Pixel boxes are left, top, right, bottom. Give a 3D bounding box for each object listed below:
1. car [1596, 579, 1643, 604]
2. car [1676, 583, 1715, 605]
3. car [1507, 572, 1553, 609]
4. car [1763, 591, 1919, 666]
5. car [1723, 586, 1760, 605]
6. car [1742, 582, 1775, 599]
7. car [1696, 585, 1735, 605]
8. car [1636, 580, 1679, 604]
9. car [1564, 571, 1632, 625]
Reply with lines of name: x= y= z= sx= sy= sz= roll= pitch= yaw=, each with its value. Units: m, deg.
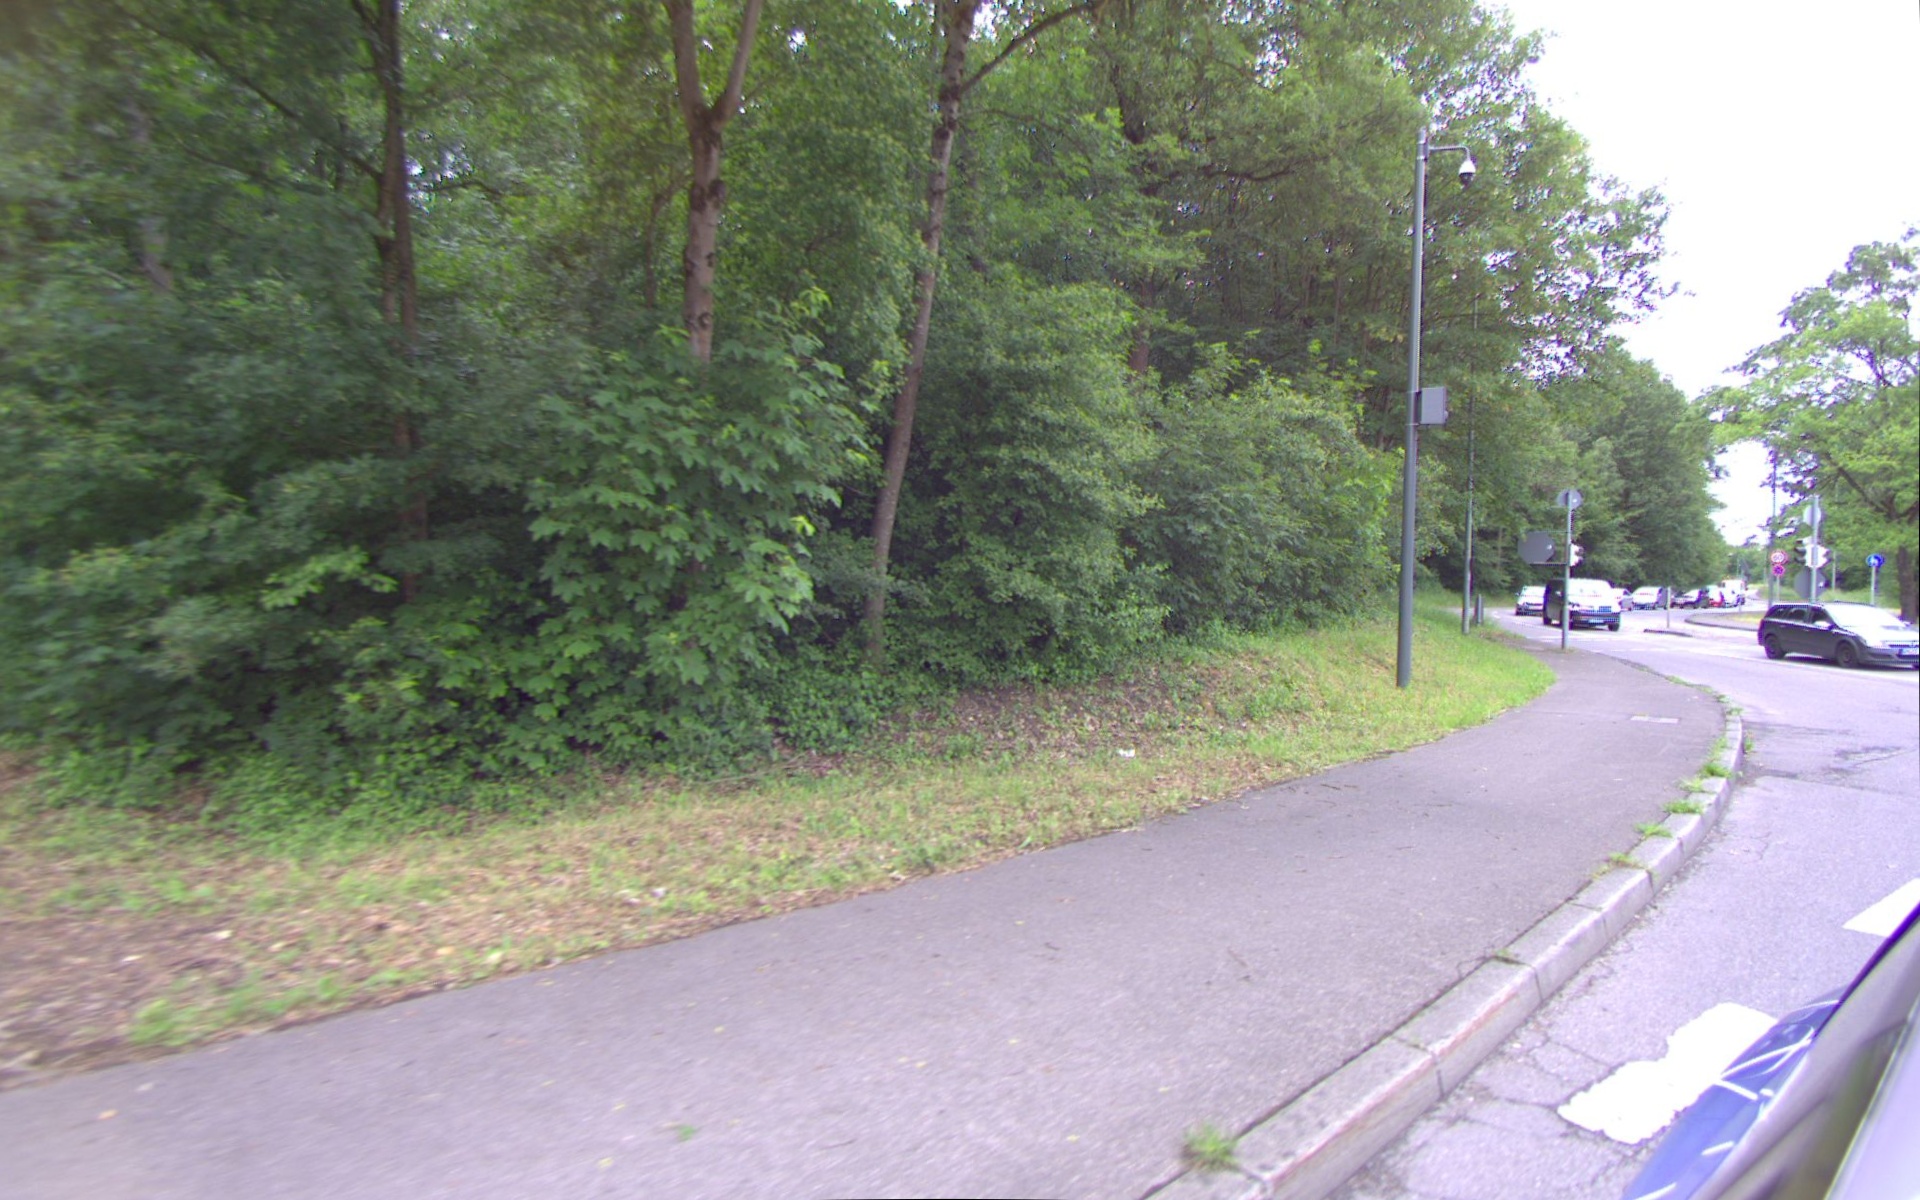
car: x=42.243 y=-0.536 z=64.802 sx=1.775 sy=1.518 sz=3.810 roll=4 pitch=3 yaw=45
car: x=55.210 y=-0.441 z=75.908 sx=1.775 sy=1.518 sz=3.810 roll=4 pitch=3 yaw=45
car: x=28.643 y=-0.481 z=50.955 sx=1.777 sy=1.694 sz=3.953 roll=2 pitch=1 yaw=27
car: x=21.378 y=0.613 z=24.002 sx=1.776 sy=1.497 sz=4.455 roll=3 pitch=2 yaw=12
car: x=66.174 y=-0.369 z=85.662 sx=3.806 sy=1.518 sz=1.777 roll=0 pitch=3 yaw=-42
car: x=76.712 y=-0.892 z=97.220 sx=3.806 sy=1.518 sz=1.777 roll=0 pitch=3 yaw=-42
car: x=60.328 y=-0.387 z=80.783 sx=3.806 sy=1.518 sz=1.777 roll=0 pitch=3 yaw=-42
car: x=48.518 y=-0.551 z=70.365 sx=1.775 sy=1.518 sz=3.810 roll=4 pitch=3 yaw=45
car: x=24.768 y=-0.134 z=39.420 sx=1.976 sy=1.895 sz=4.484 roll=3 pitch=2 yaw=30
